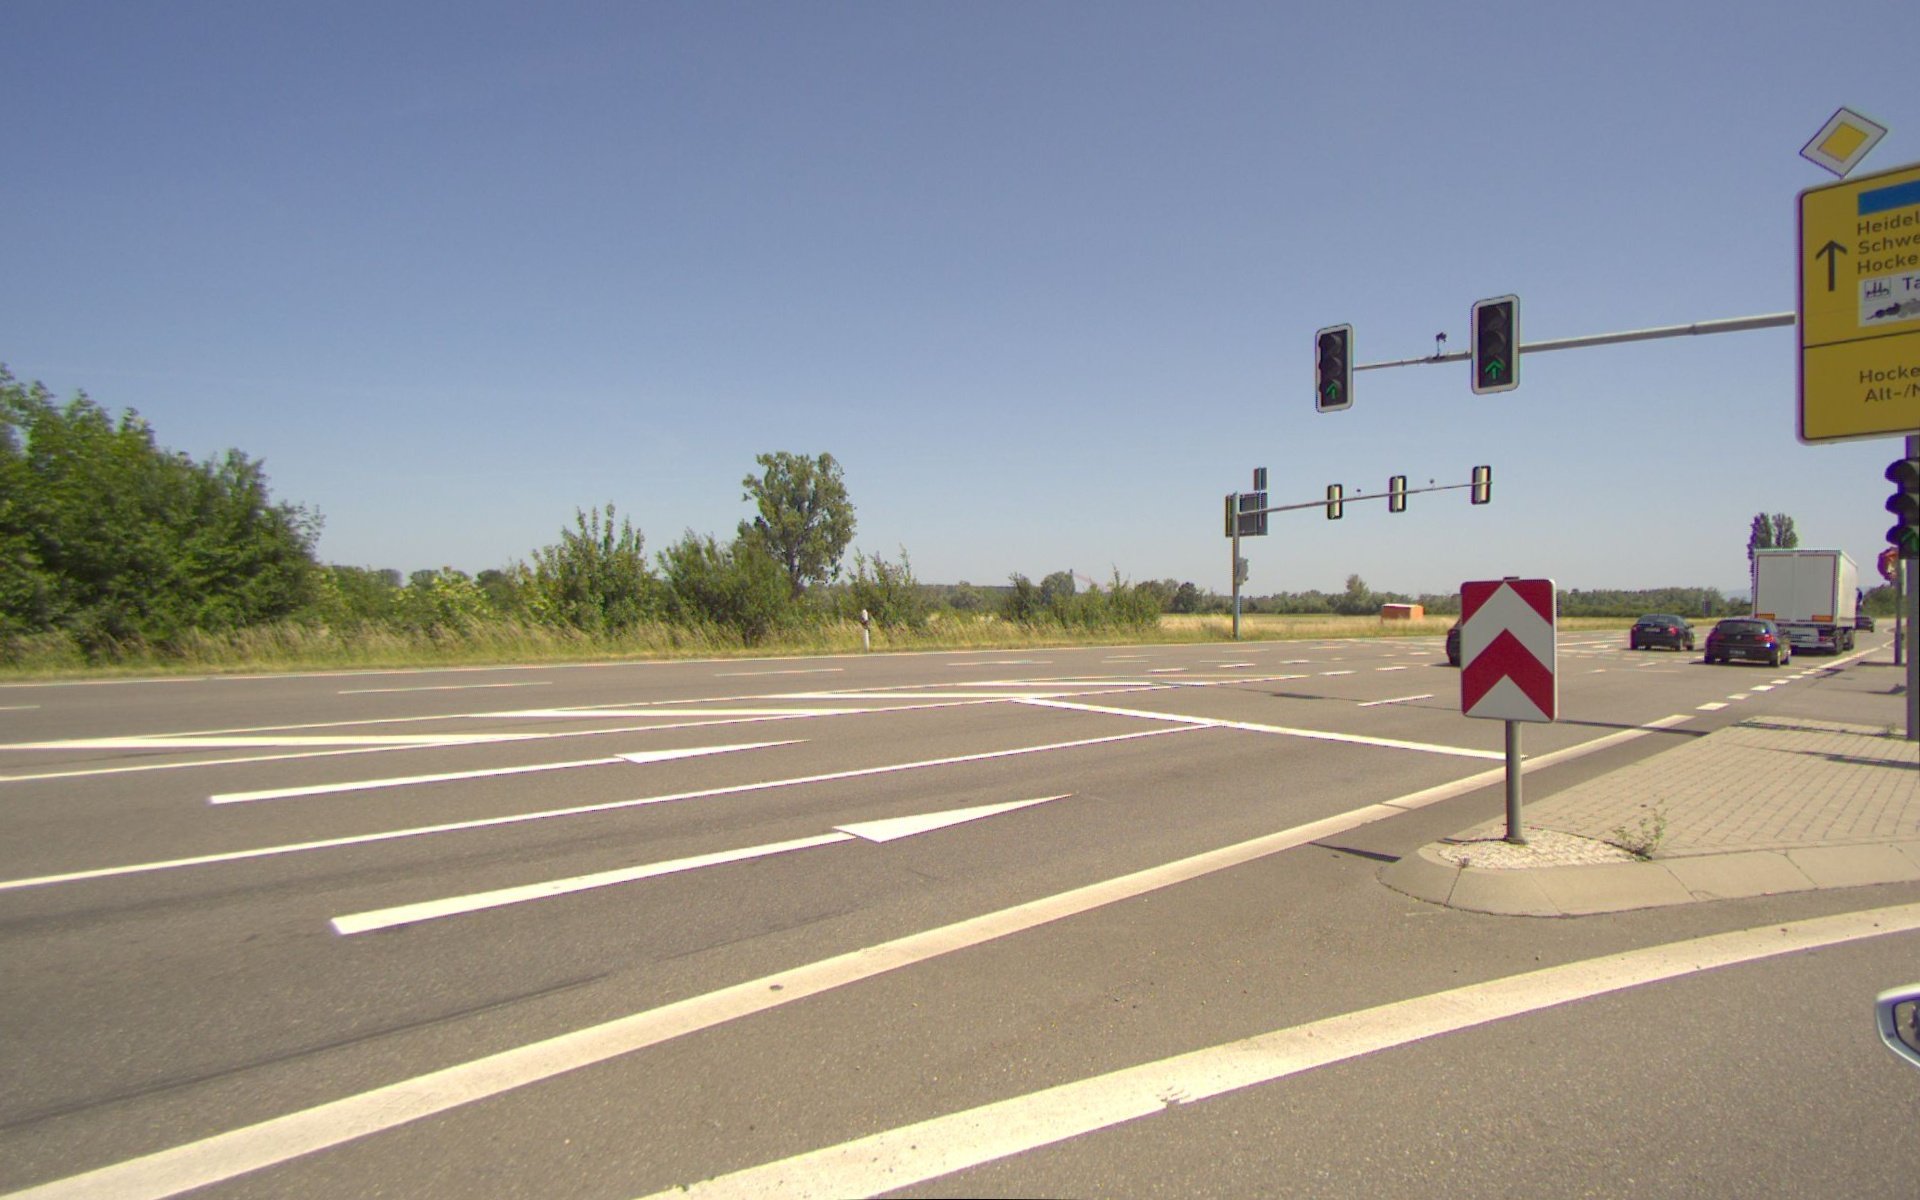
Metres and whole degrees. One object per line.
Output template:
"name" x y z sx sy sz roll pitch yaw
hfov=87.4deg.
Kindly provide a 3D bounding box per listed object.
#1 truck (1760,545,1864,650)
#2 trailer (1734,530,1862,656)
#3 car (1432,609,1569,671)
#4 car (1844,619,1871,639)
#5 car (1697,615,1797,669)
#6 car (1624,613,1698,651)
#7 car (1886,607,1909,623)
"truck" 40.392 -0.081 47.539 3.344 4.603 6.335 2 1 43
"trailer" 35.649 -0.187 42.464 3.344 4.603 12.796 2 1 43
"car" 14.422 1.023 26.685 4.494 1.466 1.871 2 0 -43
"car" 90.585 2.964 101.358 1.959 1.919 4.442 2 0 43
"car" 24.041 1.230 30.617 4.350 1.450 1.767 1 1 -44
"car" 28.473 1.287 40.770 4.438 1.430 1.658 2 0 -45
"car" 114.983 1.813 123.197 1.959 1.894 4.442 2 0 43
